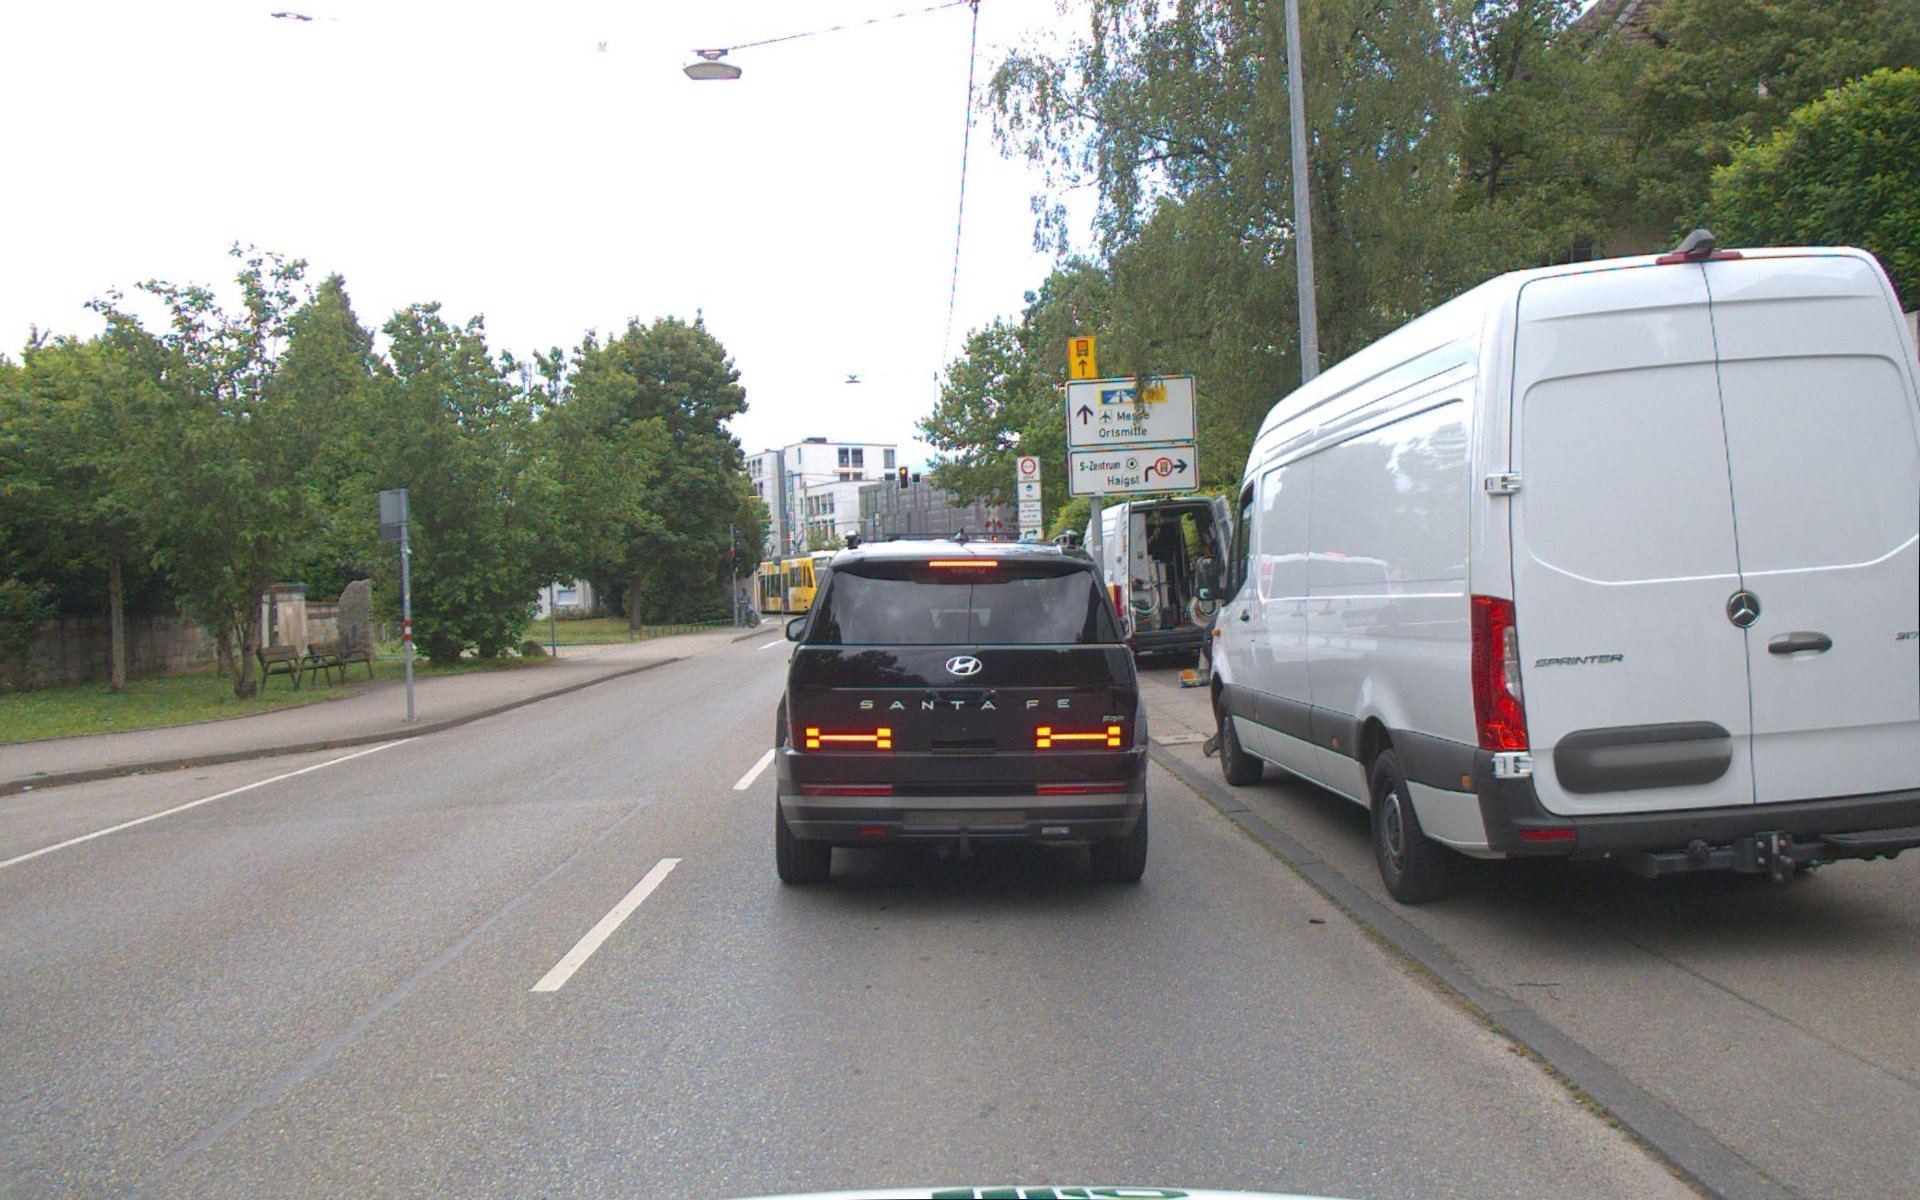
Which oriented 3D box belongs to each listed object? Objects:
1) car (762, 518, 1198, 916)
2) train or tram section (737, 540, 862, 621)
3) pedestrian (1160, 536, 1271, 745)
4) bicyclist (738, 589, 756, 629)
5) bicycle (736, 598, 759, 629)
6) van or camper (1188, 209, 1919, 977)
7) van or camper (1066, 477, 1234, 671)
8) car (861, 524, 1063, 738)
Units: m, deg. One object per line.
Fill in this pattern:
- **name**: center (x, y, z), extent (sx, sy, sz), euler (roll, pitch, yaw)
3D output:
- **car**: center (0.037, 0.500, 9.359), extent (1.924, 1.741, 3.999), euler (-1, 0, -2)
- **train or tram section**: center (-10.735, -1.066, 107.416), extent (3.148, 4.602, 18.560), euler (0, -1, -21)
- **pedestrian**: center (2.267, 0.353, 14.700), extent (0.611, 1.773, 0.599), euler (-5, 0, -31)
- **bicyclist**: center (-9.095, 0.369, 70.681), extent (0.664, 1.688, 0.855), euler (0, -2, -15)
- **bicycle**: center (-9.088, 0.594, 70.648), extent (0.664, 1.302, 2.491), euler (0, -1, -14)
- **van or camper**: center (2.838, -0.067, 9.186), extent (1.924, 2.673, 6.357), euler (-4, 1, -2)
- **van or camper**: center (3.089, -0.420, 28.018), extent (1.924, 2.845, 5.285), euler (-4, 0, -2)
- **car**: center (-0.033, 0.278, 17.909), extent (1.924, 2.036, 3.999), euler (-1, 0, -2)
